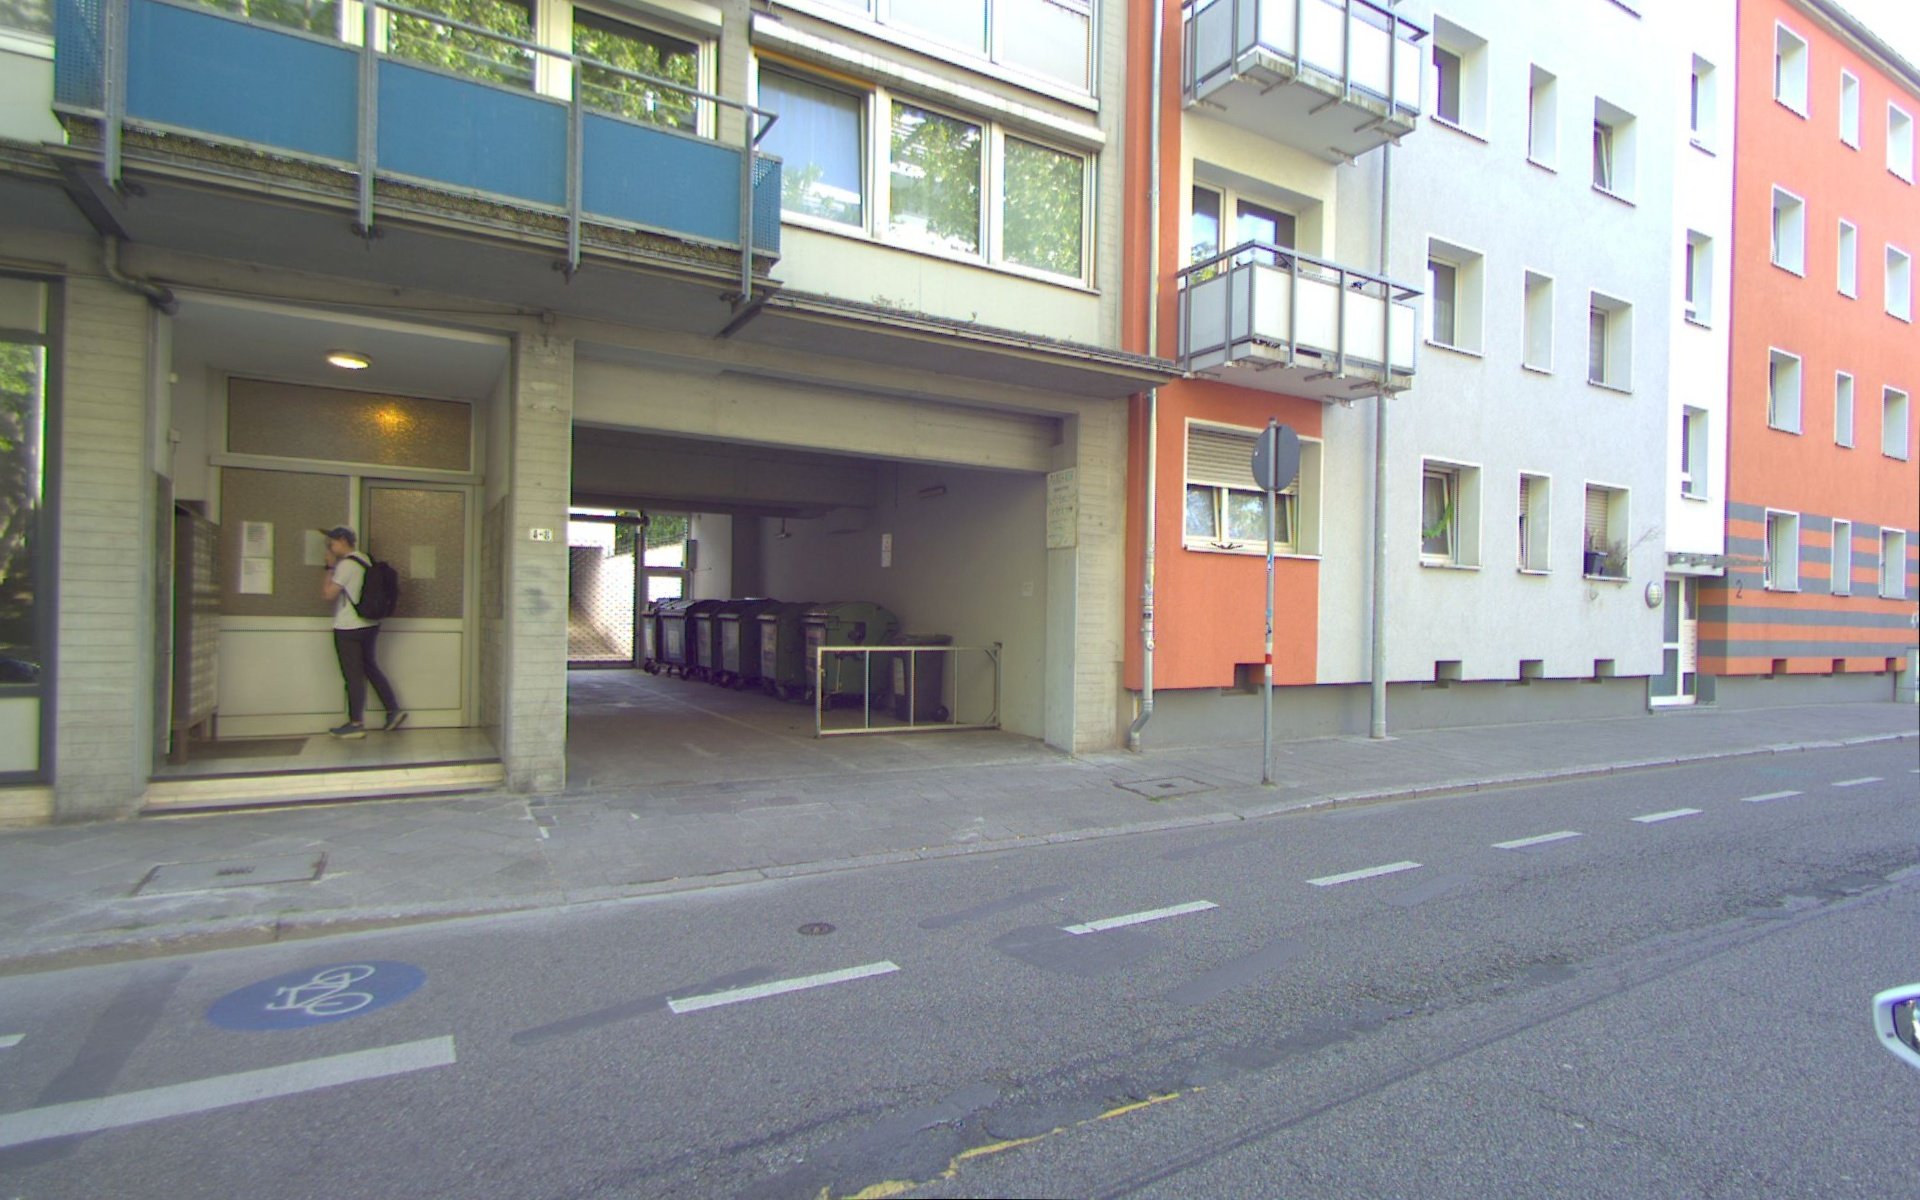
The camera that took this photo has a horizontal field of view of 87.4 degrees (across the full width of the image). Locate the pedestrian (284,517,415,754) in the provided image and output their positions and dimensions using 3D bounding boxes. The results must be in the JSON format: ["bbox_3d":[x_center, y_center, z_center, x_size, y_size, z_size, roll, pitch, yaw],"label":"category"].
[{"bbox_3d":[-5.196,0.292,8.559,0.573,1.904,0.783,2,0,40],"label":"pedestrian"}]

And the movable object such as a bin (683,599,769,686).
[{"bbox_3d":[-4.131,0.730,17.711,1.186,1.467,1.114,2,0,-30],"label":"movable object such as a bin"}]

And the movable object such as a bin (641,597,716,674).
[{"bbox_3d":[-5.606,0.697,19.983,1.186,1.467,1.027,2,0,-30],"label":"movable object such as a bin"}]

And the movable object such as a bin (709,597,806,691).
[{"bbox_3d":[-3.360,0.709,16.620,1.186,1.467,1.319,2,0,-30],"label":"movable object such as a bin"}]

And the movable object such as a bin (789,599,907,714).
[{"bbox_3d":[-1.554,0.749,13.803,1.159,1.467,1.319,2,0,-30],"label":"movable object such as a bin"}]

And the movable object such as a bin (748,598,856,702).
[{"bbox_3d":[-2.393,0.731,15.136,1.186,1.467,1.319,2,0,-30],"label":"movable object such as a bin"}]

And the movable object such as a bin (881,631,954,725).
[{"bbox_3d":[-0.526,0.949,12.411,0.745,1.116,0.463,2,0,-30],"label":"movable object such as a bin"}]

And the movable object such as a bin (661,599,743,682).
[{"bbox_3d":[-4.830,0.732,18.754,1.186,1.467,1.222,2,0,-30],"label":"movable object such as a bin"}]
